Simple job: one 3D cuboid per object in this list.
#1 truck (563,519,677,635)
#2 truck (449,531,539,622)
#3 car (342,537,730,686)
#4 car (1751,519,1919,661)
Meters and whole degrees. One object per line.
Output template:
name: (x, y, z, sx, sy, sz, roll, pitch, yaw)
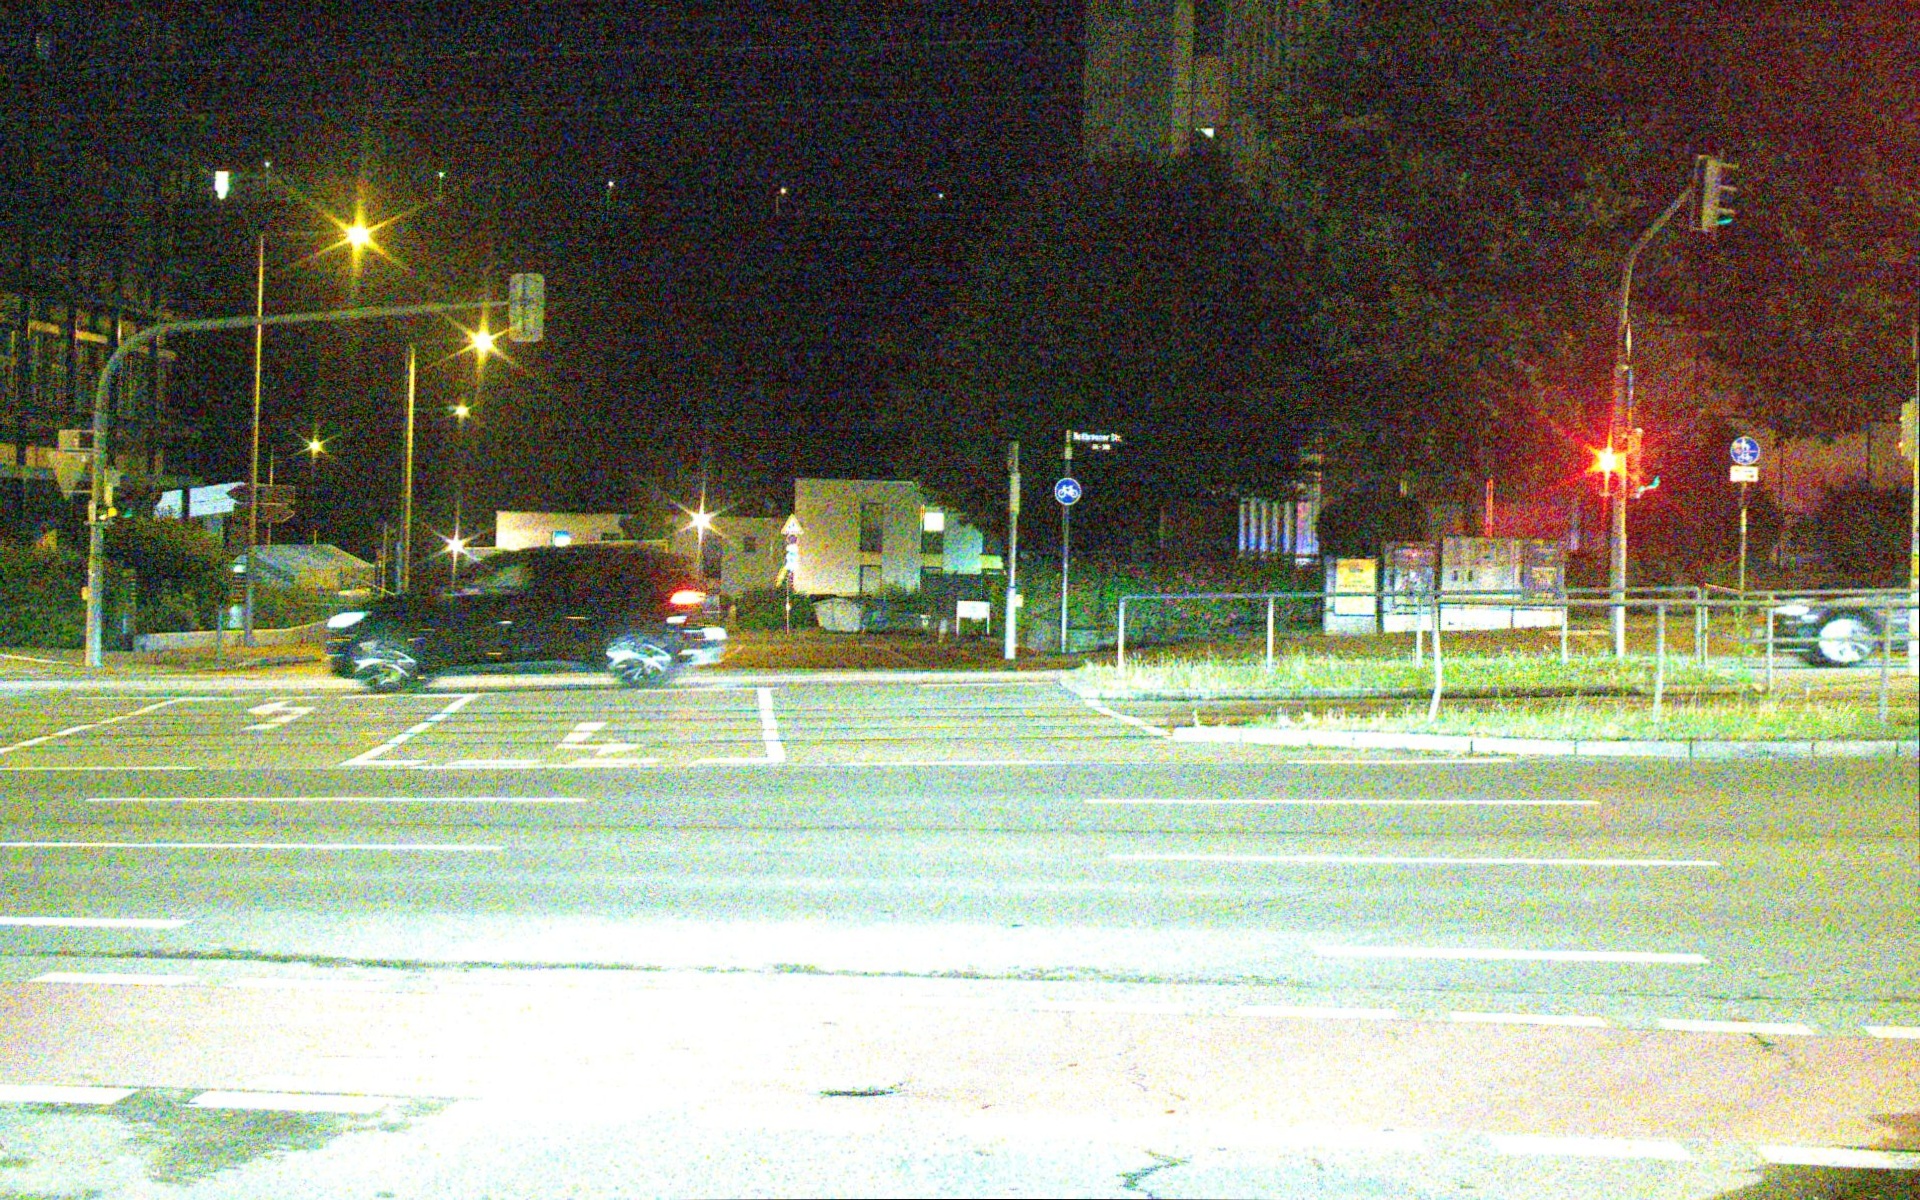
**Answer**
truck: (-14.772, -0.986, 148.855, 3.359, 4.826, 7.908, 1, 0, -17)
truck: (-16.402, -0.803, 120.729, 2.417, 3.078, 6.439, 1, 0, -14)
car: (-4.606, 0.116, 37.714, 3.987, 1.579, 1.803, 0, 0, 2)
car: (11.447, -0.090, 39.728, 4.234, 1.579, 1.803, 1, 0, 4)
